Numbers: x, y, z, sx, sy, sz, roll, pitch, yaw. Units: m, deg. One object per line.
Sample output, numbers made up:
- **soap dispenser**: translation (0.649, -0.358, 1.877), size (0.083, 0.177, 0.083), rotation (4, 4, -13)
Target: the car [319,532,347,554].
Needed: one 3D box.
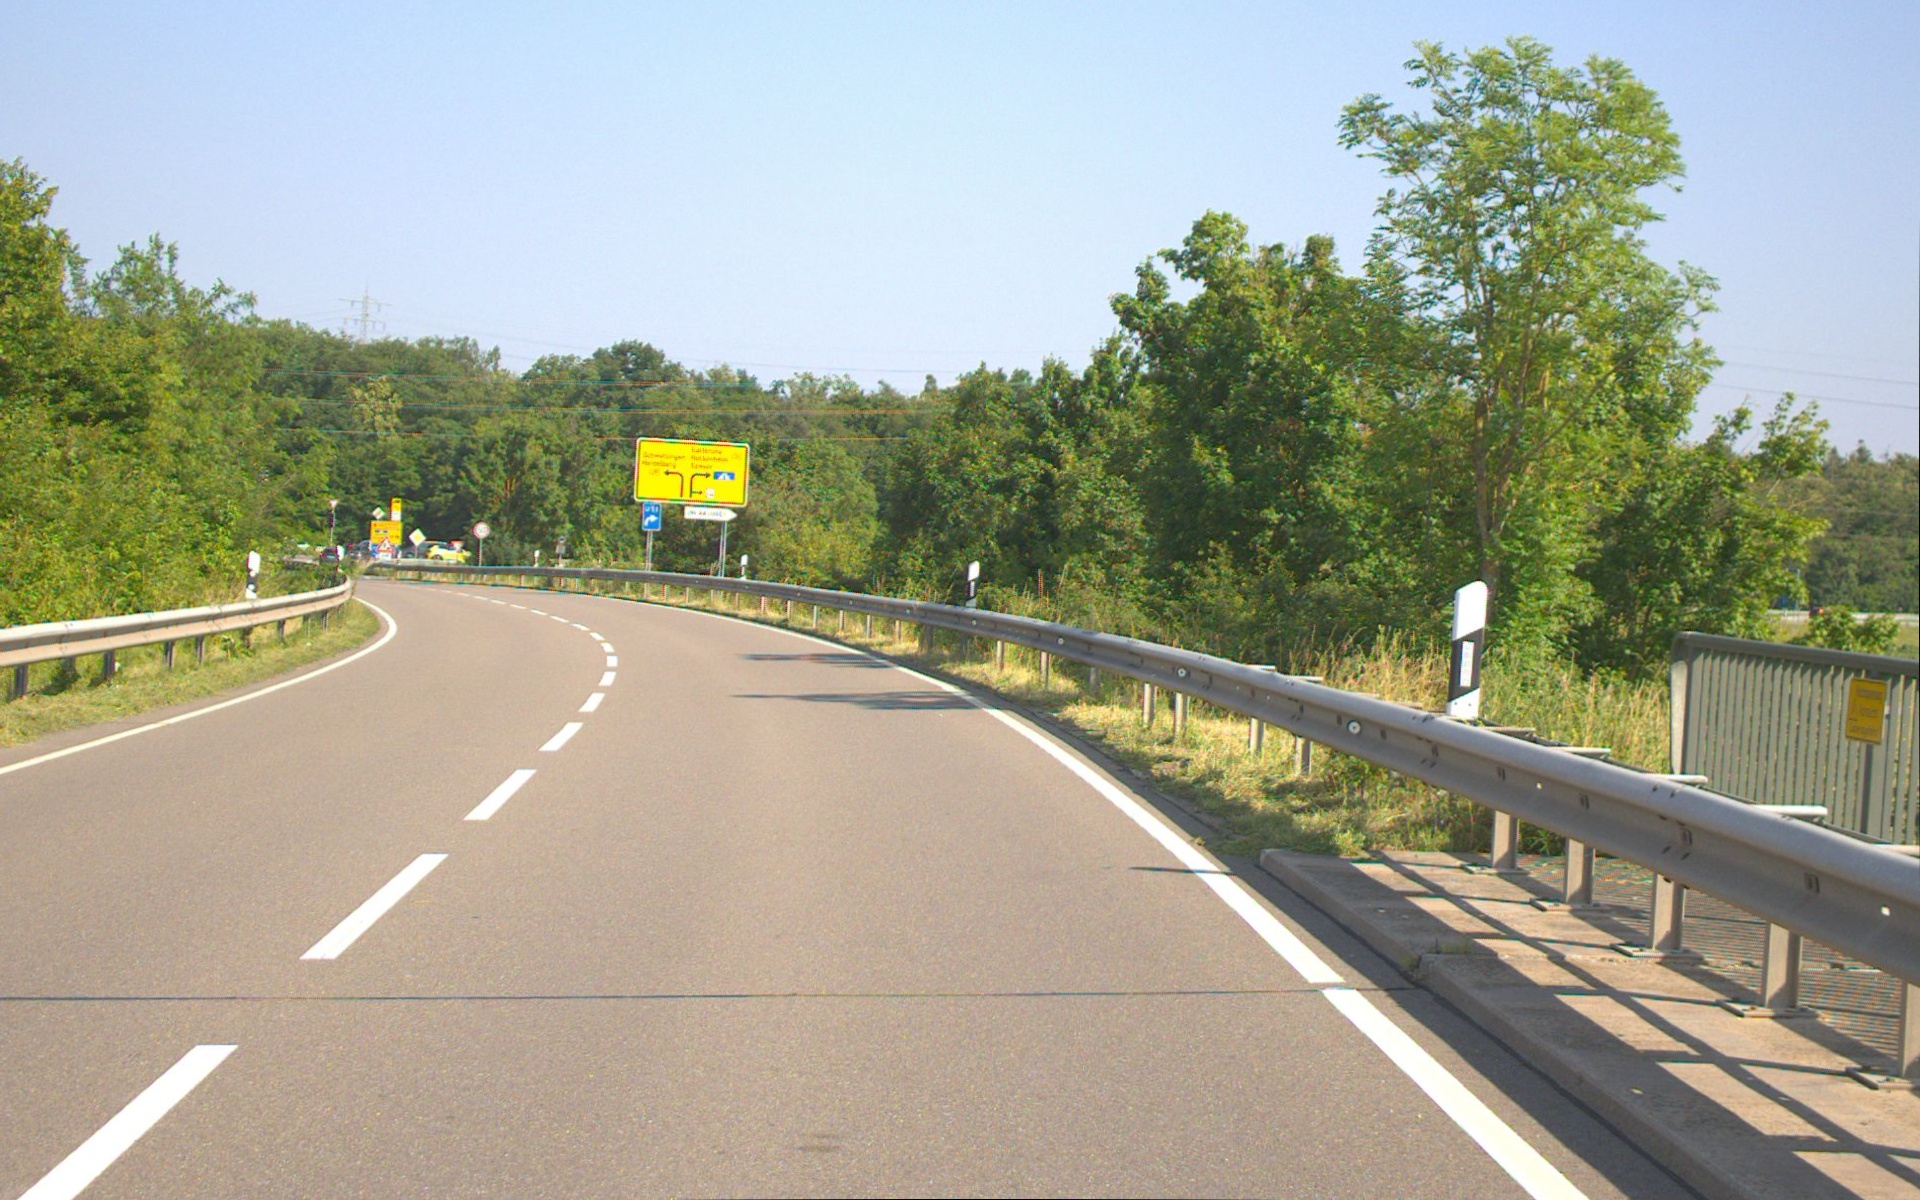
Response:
- **car**: translation (-44.358, -4.048, 243.341), size (1.799, 1.393, 4.001), rotation (-6, 2, -10)
